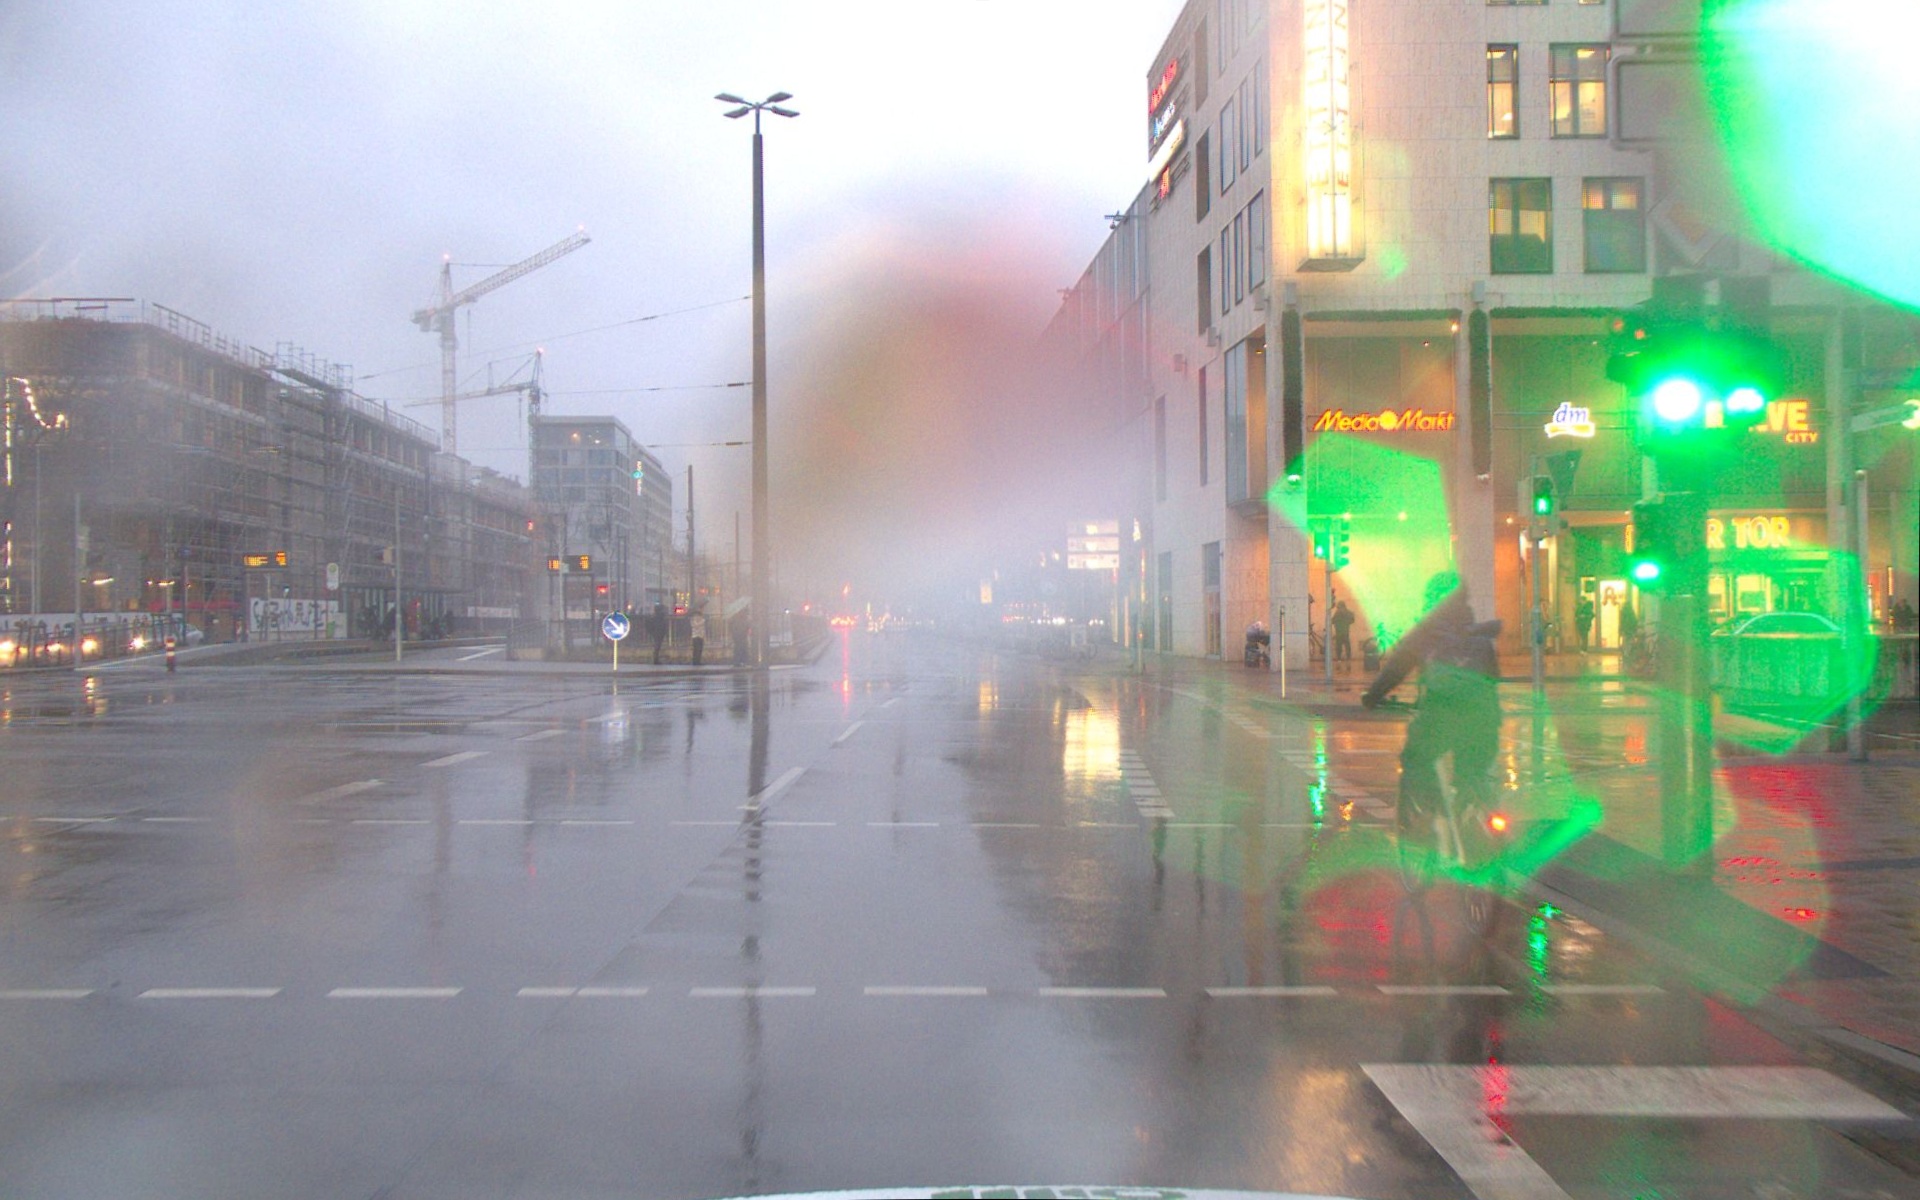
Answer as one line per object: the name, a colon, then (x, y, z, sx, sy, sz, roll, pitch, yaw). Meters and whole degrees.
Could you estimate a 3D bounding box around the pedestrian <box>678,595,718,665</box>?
pedestrian: (-7.106, 0.808, 44.855, 0.813, 1.864, 0.777, 2, -1, -31)

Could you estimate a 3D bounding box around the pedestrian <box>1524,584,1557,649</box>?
pedestrian: (18.587, 0.537, 52.973, 0.828, 2.049, 0.698, -1, -1, 8)

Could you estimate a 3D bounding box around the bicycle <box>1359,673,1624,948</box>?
bicycle: (2.524, 0.953, 8.073, 0.694, 1.113, 1.783, 0, 0, -1)

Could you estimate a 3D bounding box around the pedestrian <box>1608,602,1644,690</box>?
pedestrian: (19.098, 1.307, 47.419, 0.700, 2.484, 0.757, 1, -1, -1)

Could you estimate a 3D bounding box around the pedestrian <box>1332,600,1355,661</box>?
pedestrian: (11.224, 0.889, 48.384, 0.587, 1.775, 0.525, 1, -1, 7)

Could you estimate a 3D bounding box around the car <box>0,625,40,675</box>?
car: (-37.808, 1.936, 64.675, 1.830, 1.860, 3.993, 1, -1, -8)

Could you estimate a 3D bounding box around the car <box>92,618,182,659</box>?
car: (-38.125, 1.783, 76.734, 1.952, 1.822, 4.001, 1, -1, 3)

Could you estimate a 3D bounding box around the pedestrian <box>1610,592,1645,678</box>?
pedestrian: (19.605, 1.019, 48.587, 0.675, 2.484, 0.757, 1, -1, -1)

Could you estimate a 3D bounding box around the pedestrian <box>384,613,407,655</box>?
pedestrian: (-26.473, 1.597, 77.591, 0.750, 1.931, 0.762, 1, -2, -1)

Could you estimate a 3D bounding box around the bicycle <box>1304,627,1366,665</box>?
bicycle: (11.204, 1.370, 49.367, 1.735, 1.088, 0.523, 1, -1, -9)

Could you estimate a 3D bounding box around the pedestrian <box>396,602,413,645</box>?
pedestrian: (-26.363, 1.124, 78.473, 0.559, 2.002, 0.664, 2, -1, -7)

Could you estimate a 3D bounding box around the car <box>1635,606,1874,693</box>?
car: (16.082, 0.993, 33.631, 3.905, 1.646, 2.000, 1, -1, 0)

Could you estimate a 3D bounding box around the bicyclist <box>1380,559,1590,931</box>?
bicyclist: (2.520, 0.662, 8.036, 0.688, 1.689, 0.964, 0, 0, -1)

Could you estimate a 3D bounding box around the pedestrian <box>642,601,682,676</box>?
pedestrian: (-8.237, 1.071, 45.704, 0.771, 2.049, 0.724, 0, -2, 41)

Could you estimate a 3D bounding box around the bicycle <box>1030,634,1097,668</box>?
bicycle: (3.766, 1.855, 60.207, 2.393, 1.174, 0.674, -1, -1, -2)

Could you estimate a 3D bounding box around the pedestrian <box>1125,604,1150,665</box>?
pedestrian: (5.113, 1.000, 47.576, 0.624, 1.739, 0.573, -1, -1, -2)

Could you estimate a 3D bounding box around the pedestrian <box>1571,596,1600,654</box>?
pedestrian: (19.068, 0.754, 50.378, 0.721, 1.748, 0.738, -2, -1, 26)

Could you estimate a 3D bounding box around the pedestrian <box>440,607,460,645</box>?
pedestrian: (-28.237, 1.447, 91.601, 0.925, 2.049, 1.091, 1, -1, -11)

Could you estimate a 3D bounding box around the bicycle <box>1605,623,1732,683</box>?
bicycle: (17.061, 1.278, 39.880, 2.659, 1.383, 0.957, -1, -1, -5)

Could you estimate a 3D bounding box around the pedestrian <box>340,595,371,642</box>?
pedestrian: (-27.021, 0.836, 73.972, 0.922, 2.049, 1.094, 1, -1, 1)

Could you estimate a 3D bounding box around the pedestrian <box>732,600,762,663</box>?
pedestrian: (-5.928, 0.876, 46.039, 0.601, 1.715, 0.575, 0, -2, 41)

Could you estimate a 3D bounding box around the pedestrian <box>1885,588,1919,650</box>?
pedestrian: (26.749, 0.532, 46.731, 0.875, 1.714, 0.528, -1, -2, -1)

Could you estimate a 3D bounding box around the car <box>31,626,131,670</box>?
car: (-37.783, 2.051, 71.187, 1.952, 1.822, 4.001, 1, -1, 3)

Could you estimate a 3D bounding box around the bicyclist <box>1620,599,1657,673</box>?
bicyclist: (18.872, 0.996, 46.030, 0.903, 2.049, 0.907, -1, -1, 22)

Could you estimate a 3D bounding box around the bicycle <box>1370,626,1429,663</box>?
bicycle: (13.164, 1.335, 49.526, 1.614, 1.088, 0.524, 1, -1, -5)

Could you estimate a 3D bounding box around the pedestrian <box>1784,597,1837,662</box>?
pedestrian: (23.107, 0.802, 44.923, 1.009, 1.713, 0.824, 1, -1, -1)

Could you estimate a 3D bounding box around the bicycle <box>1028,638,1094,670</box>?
bicycle: (3.712, 1.998, 60.971, 2.377, 1.118, 0.711, -1, -1, -3)

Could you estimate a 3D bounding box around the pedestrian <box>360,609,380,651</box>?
pedestrian: (-26.794, 1.356, 75.143, 0.684, 1.914, 0.553, 1, -1, -2)
